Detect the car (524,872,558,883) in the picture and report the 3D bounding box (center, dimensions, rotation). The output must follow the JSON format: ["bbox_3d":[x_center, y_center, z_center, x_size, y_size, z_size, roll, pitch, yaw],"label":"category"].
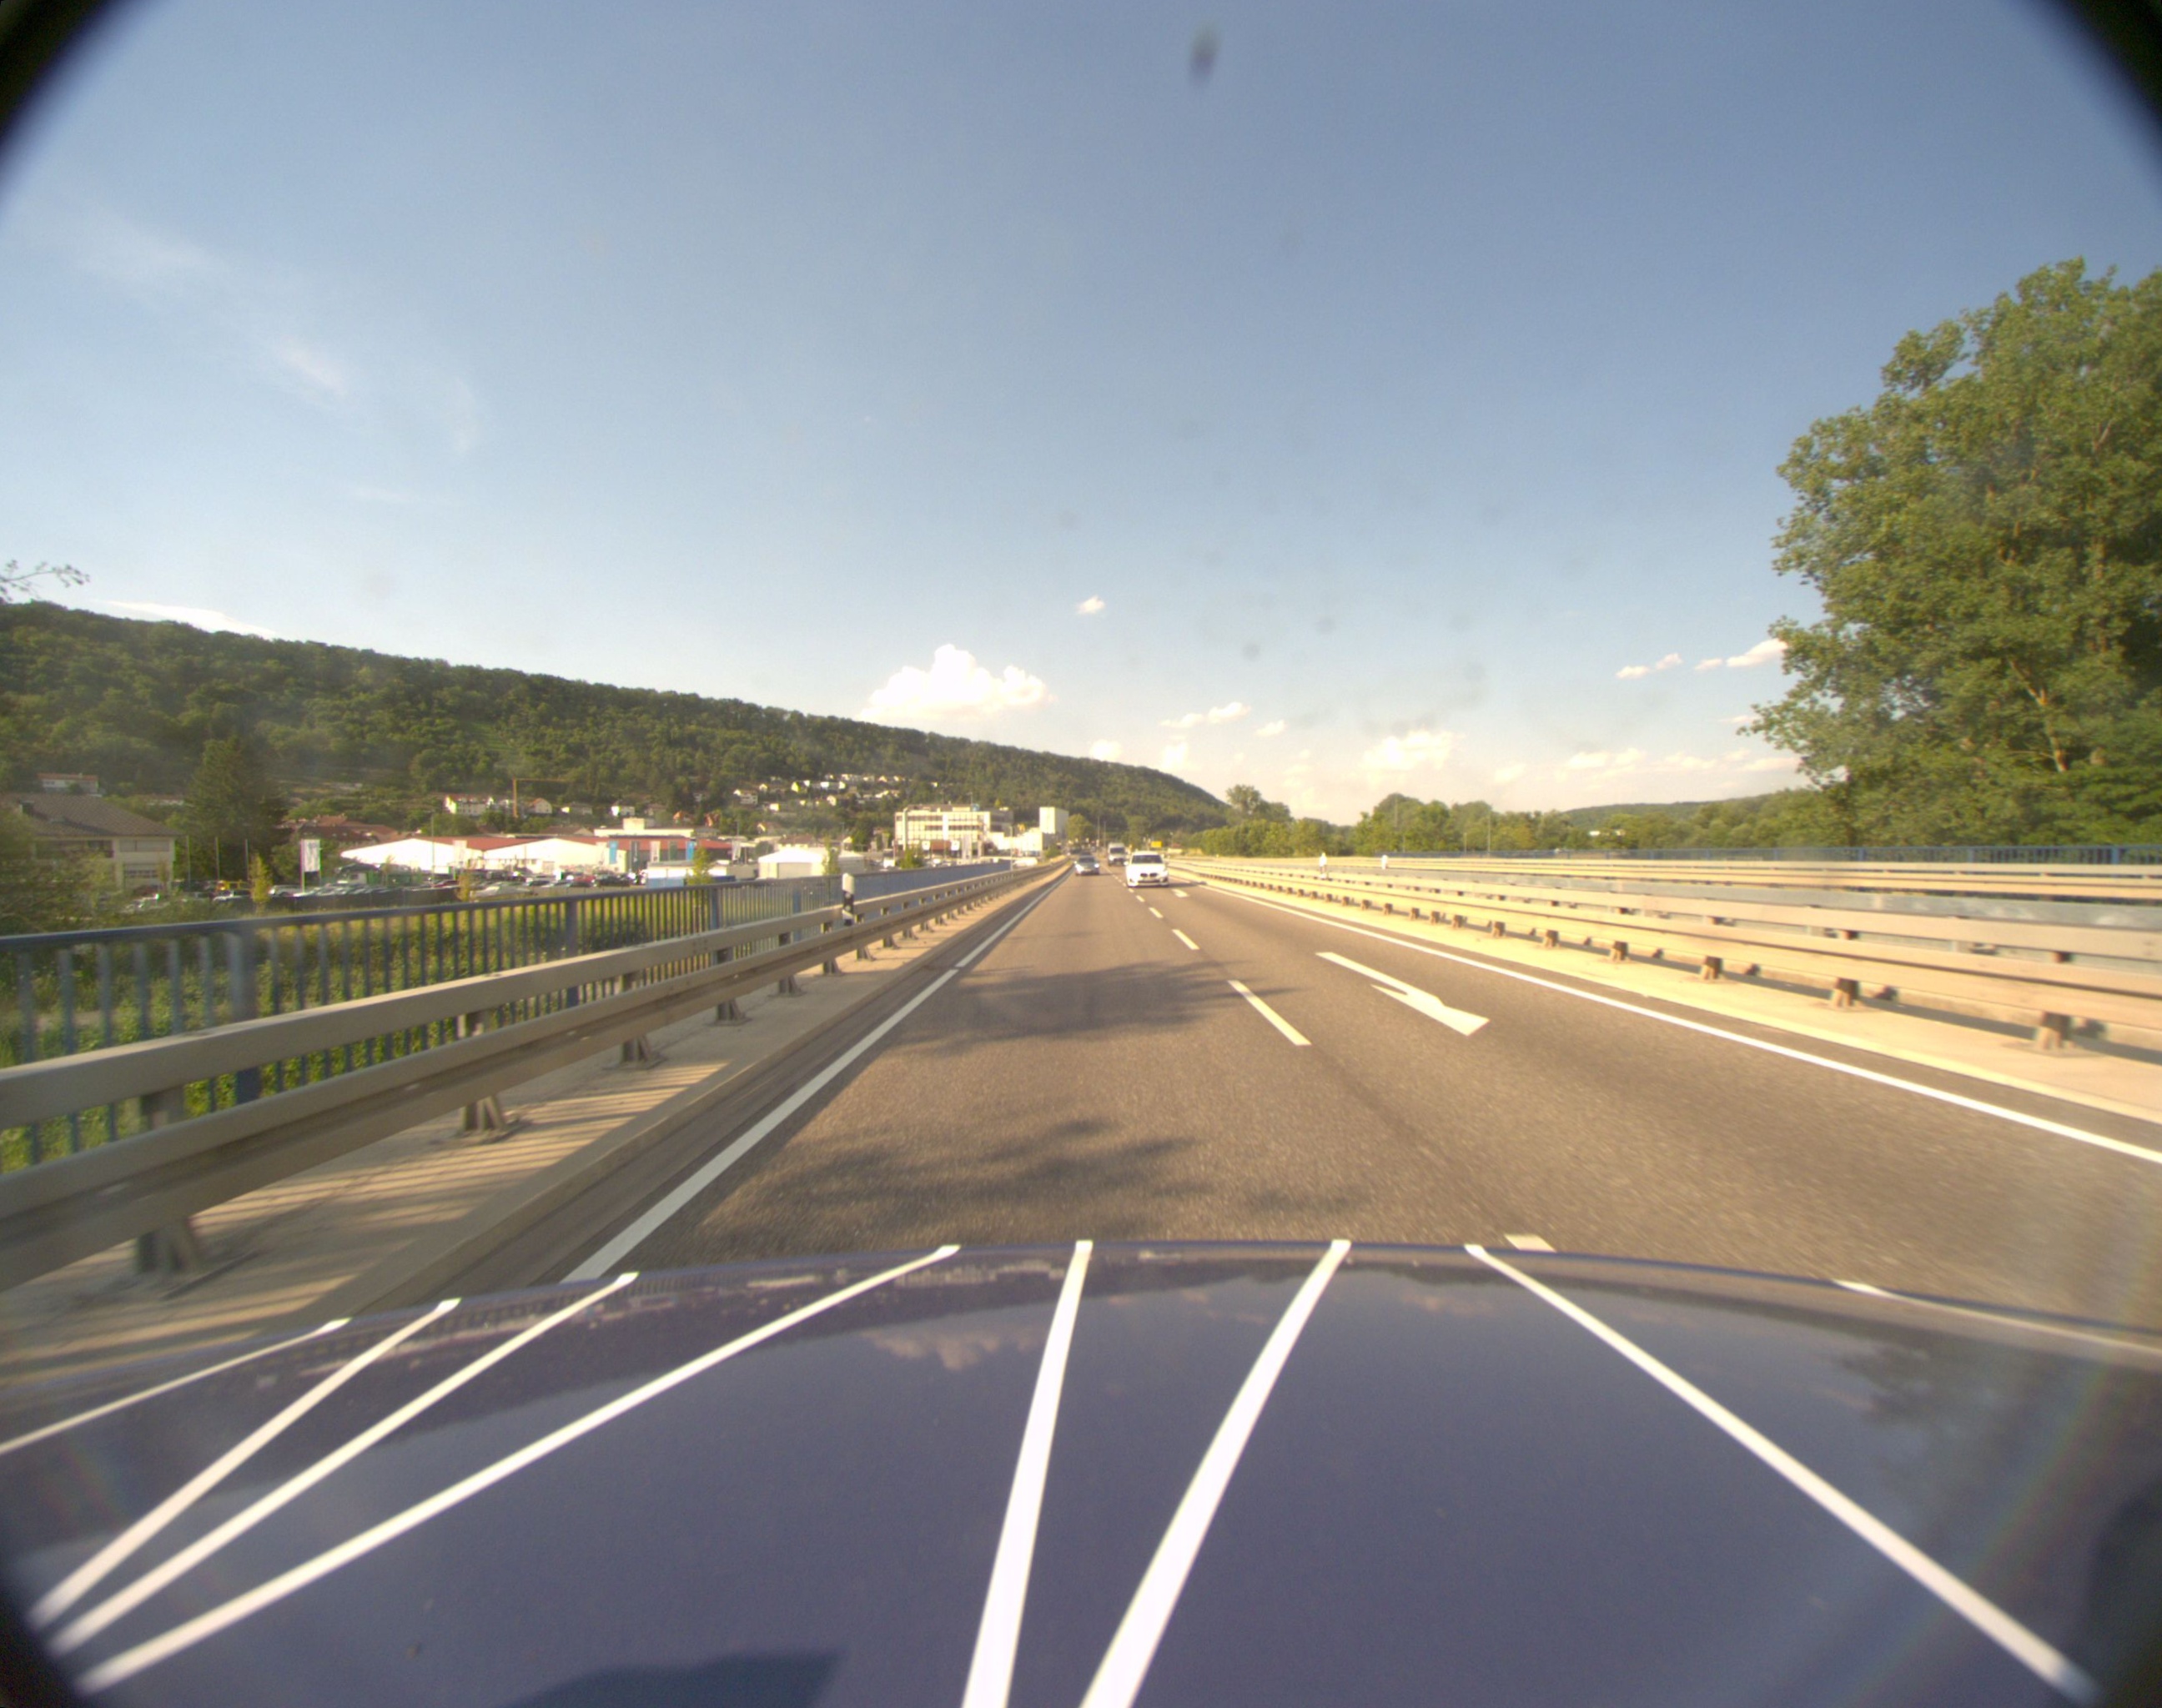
[{"bbox_3d":[-86.843,3.776,122.310,1.586,1.494,4.233,-1,1,23],"label":"car"}]

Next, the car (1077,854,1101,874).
[{"bbox_3d":[0.601,0.718,56.758,1.690,1.383,3.883,-1,1,1],"label":"car"}]

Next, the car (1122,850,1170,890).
[{"bbox_3d":[2.878,0.666,34.208,1.825,1.552,3.999,-2,1,1],"label":"car"}]

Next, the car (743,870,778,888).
[{"bbox_3d":[-34.345,2.661,81.418,1.709,1.594,4.000,-2,1,5],"label":"car"}]

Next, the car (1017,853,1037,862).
[{"bbox_3d":[-11.924,0.766,167.932,3.996,1.740,1.901,-2,2,2],"label":"car"}]

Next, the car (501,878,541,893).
[{"bbox_3d":[-73.308,4.119,99.497,1.748,1.568,3.785,-1,1,23],"label":"car"}]

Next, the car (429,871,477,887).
[{"bbox_3d":[-71.147,2.859,86.178,1.749,1.568,3.784,-2,1,17],"label":"car"}]

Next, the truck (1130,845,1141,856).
[{"bbox_3d":[17.232,-1.113,240.848,2.940,3.477,10.496,-1,1,0],"label":"truck"}]

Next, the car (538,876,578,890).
[{"bbox_3d":[-65.775,3.623,95.612,1.748,1.568,3.785,-1,1,23],"label":"car"}]

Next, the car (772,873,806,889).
[{"bbox_3d":[-35.248,3.273,91.974,1.884,1.627,4.730,-2,1,5],"label":"car"}]

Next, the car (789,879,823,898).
[{"bbox_3d":[-29.025,3.634,80.286,1.779,1.674,4.000,-2,1,5],"label":"car"}]

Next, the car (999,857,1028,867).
[{"bbox_3d":[-14.581,1.670,163.269,5.895,2.002,2.000,-2,2,3],"label":"car"}]

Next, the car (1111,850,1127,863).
[{"bbox_3d":[4.220,0.259,85.296,1.690,1.383,3.883,-1,1,1],"label":"car"}]

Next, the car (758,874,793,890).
[{"bbox_3d":[-37.307,3.356,92.822,1.884,1.627,4.730,-2,1,5],"label":"car"}]

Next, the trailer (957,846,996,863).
[{"bbox_3d":[-23.260,0.118,169.050,7.896,3.304,3.359,-2,2,5],"label":"trailer"}]

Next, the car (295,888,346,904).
[{"bbox_3d":[-89.323,4.945,89.319,1.749,1.568,3.785,-2,1,21],"label":"car"}]
